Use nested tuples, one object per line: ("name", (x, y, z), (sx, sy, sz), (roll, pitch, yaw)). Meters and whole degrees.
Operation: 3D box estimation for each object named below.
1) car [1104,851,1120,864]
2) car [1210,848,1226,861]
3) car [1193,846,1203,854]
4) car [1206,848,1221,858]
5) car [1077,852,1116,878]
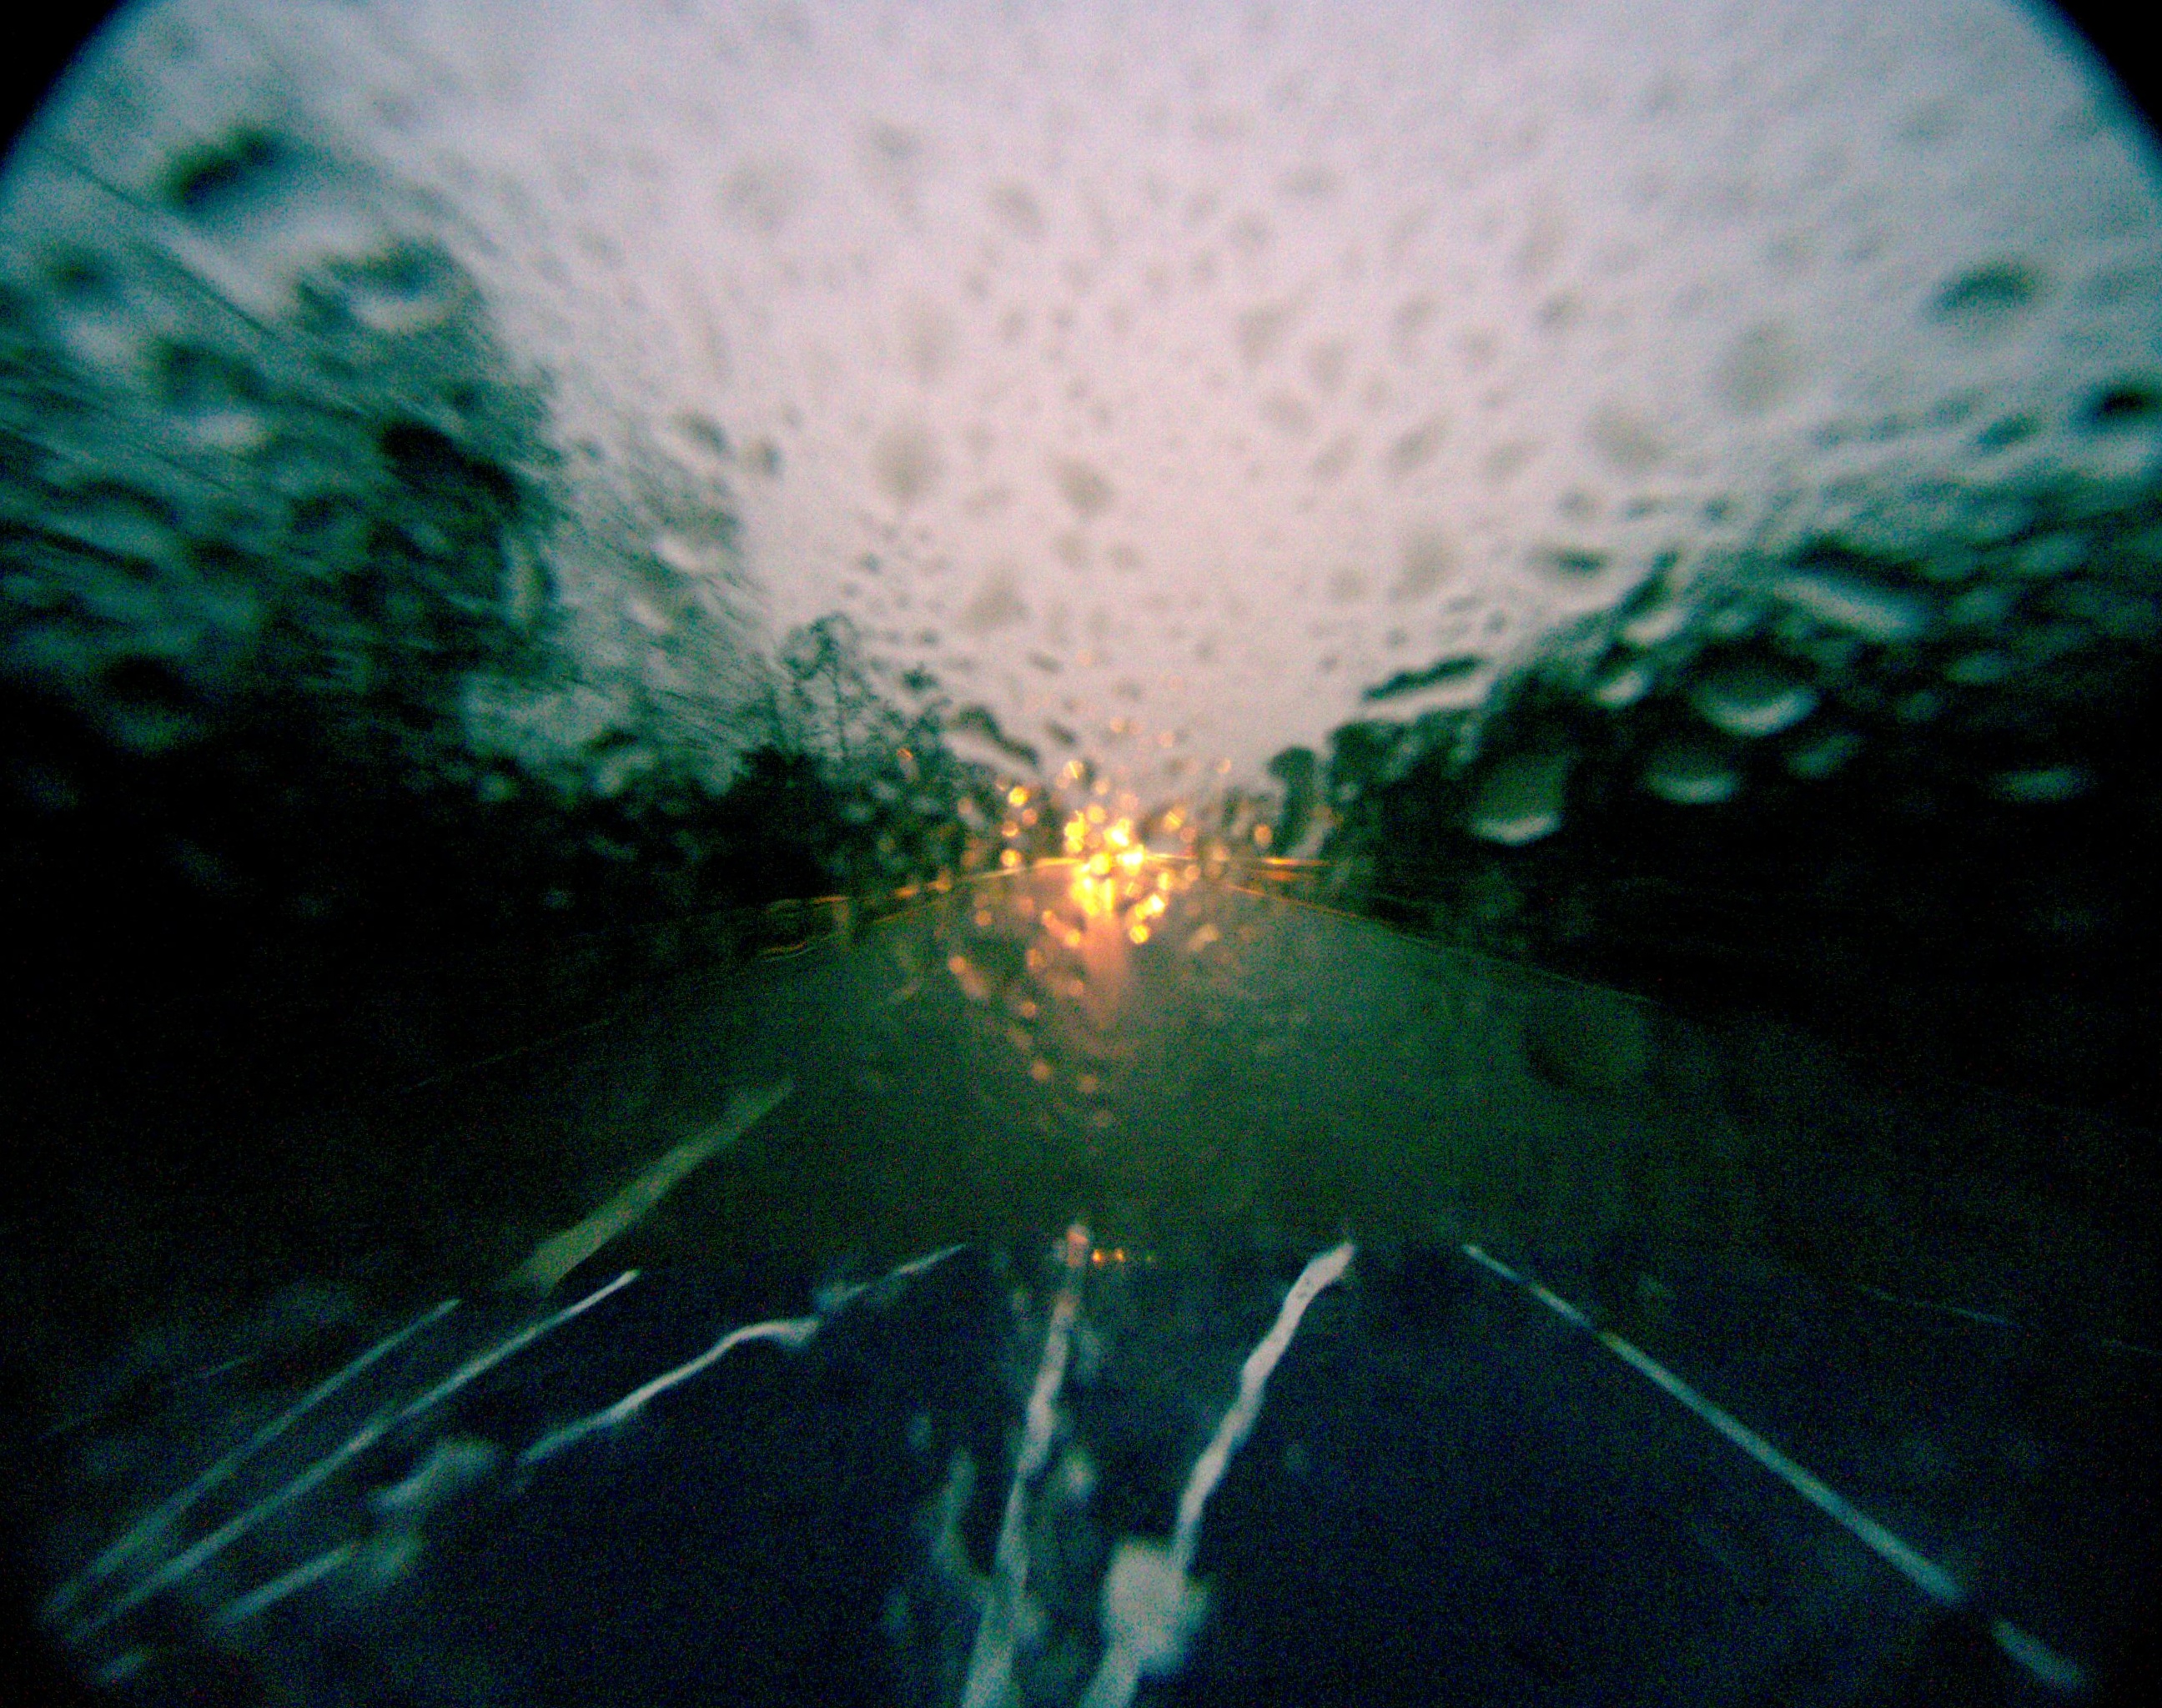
("car", (3.788, 0.421, 94.375), (1.841, 1.553, 3.868), (-4, 0, 2))
("car", (19.843, 0.077, 110.177), (1.648, 1.775, 4.208), (-4, 0, 3))
("car", (26.808, -0.910, 174.003), (1.997, 1.743, 4.901), (-4, 0, 8))
("car", (23.617, -0.191, 135.309), (1.998, 1.669, 4.473), (-4, 0, 3))
("car", (1.069, 0.656, 48.332), (1.951, 1.511, 4.790), (-2, 0, 7))
